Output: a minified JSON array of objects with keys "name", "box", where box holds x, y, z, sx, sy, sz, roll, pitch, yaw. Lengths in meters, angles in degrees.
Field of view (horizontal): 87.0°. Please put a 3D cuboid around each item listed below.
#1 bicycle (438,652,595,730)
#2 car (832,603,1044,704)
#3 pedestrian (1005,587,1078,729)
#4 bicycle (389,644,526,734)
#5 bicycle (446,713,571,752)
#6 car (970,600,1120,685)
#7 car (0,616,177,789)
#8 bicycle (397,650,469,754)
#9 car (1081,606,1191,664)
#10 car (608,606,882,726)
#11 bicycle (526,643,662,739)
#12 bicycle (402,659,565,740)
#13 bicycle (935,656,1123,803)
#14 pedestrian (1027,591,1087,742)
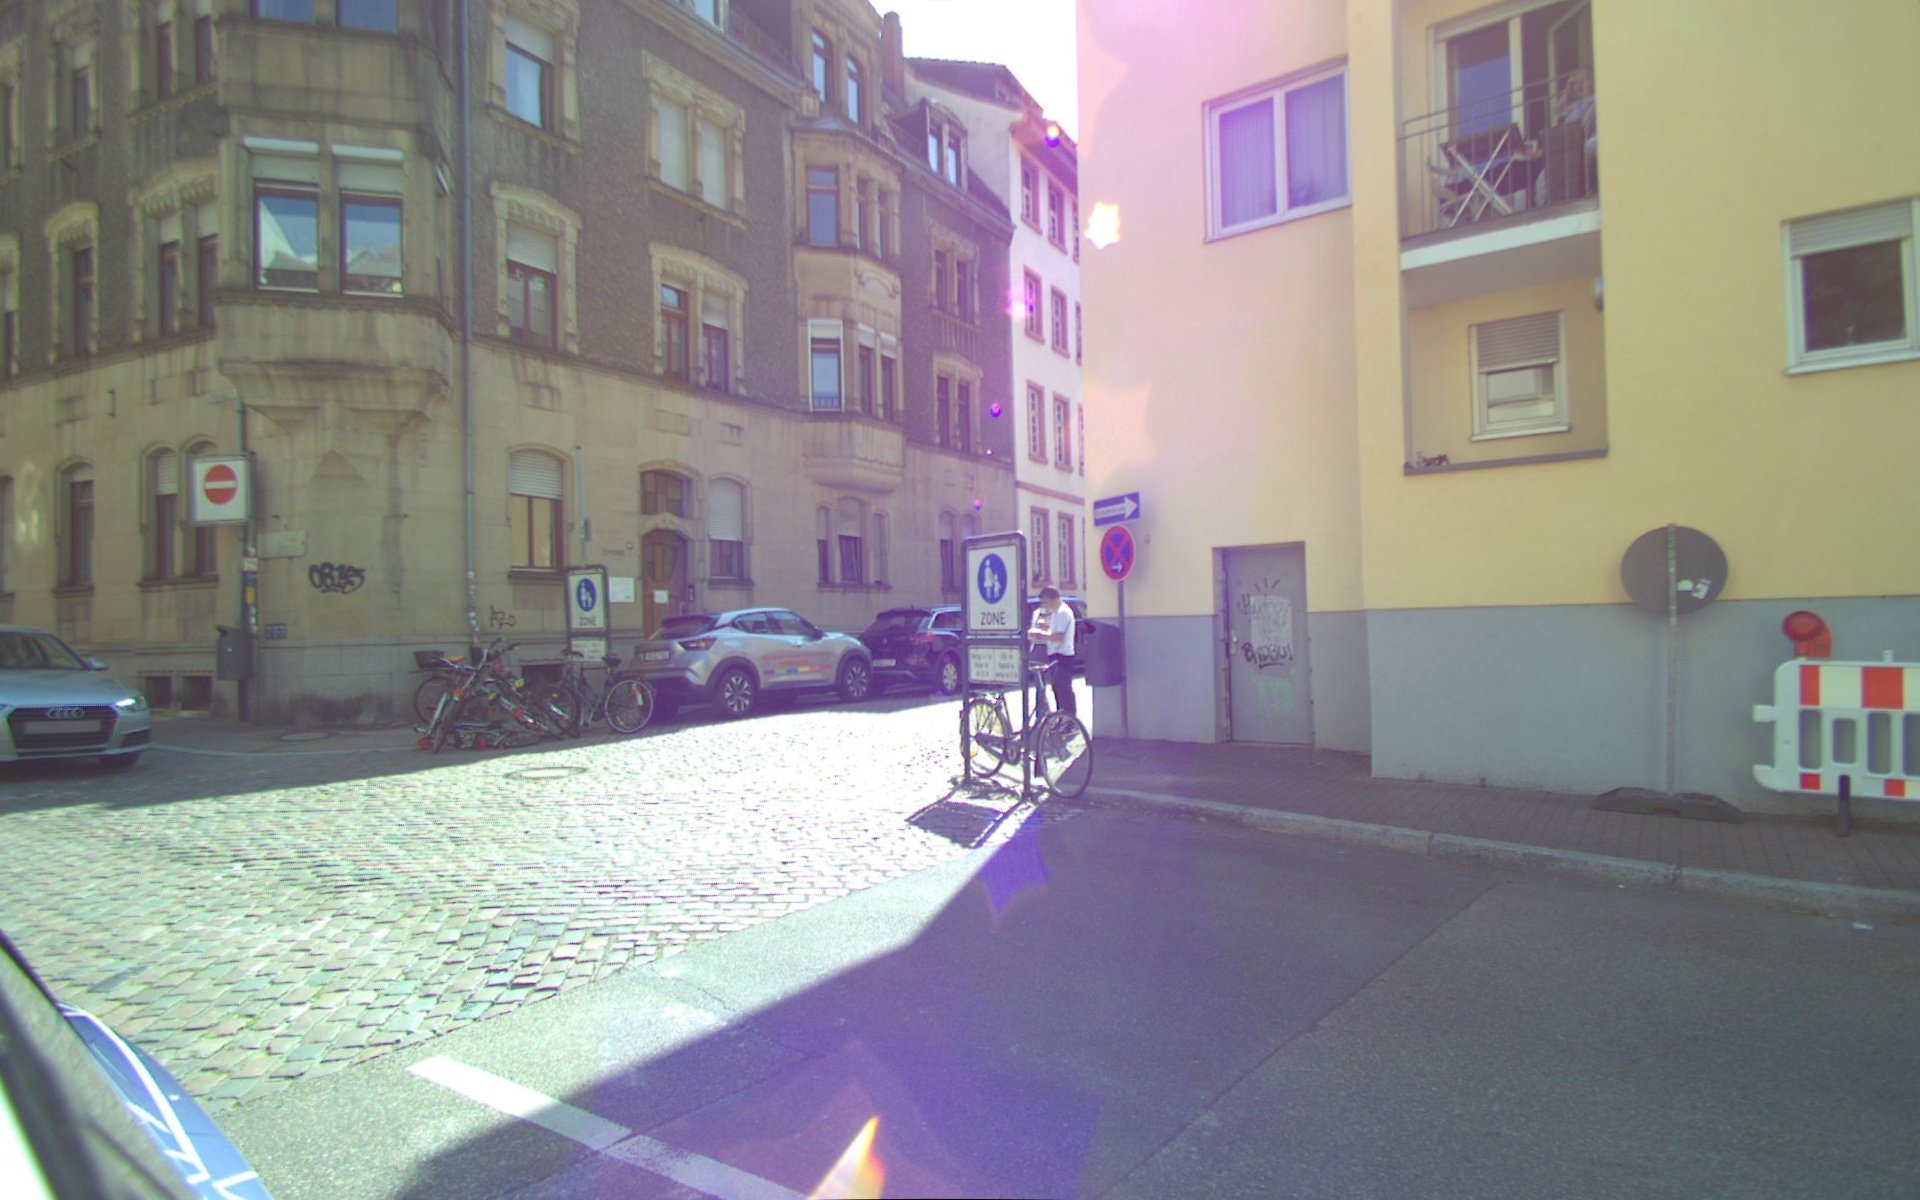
[{"name":"bicycle","box":[-5.506,1.127,12.594,1.632,1.081,0.287,-1,42,24]},{"name":"car","box":[-0.292,0.918,18.525,1.848,1.556,3.953,-5,-2,34]},{"name":"pedestrian","box":[0.984,0.682,12.130,0.685,1.630,0.752,-2,-2,18]},{"name":"bicycle","box":[-6.859,1.187,13.891,0.495,1.094,1.623,3,1,33]},{"name":"bicycle","box":[-5.342,1.552,11.963,1.062,0.290,1.125,0,-2,-42]},{"name":"car","box":[1.954,0.860,22.343,1.565,1.648,3.814,-1,0,36]},{"name":"car","box":[-10.085,0.919,10.239,4.363,1.503,1.859,-1,-1,29]},{"name":"bicycle","box":[-6.074,1.135,11.621,0.281,1.094,1.644,-4,1,-42]},{"name":"car","box":[5.060,0.943,28.716,1.658,1.454,3.816,-1,0,34]},{"name":"car","box":[-3.102,0.904,15.282,1.847,1.556,3.884,-2,-2,33]},{"name":"bicycle","box":[-4.597,1.143,12.712,1.622,1.094,0.285,-4,-4,7]},{"name":"bicycle","box":[-5.708,1.191,12.143,1.632,1.081,0.287,-1,42,24]},{"name":"bicycle","box":[0.531,1.039,8.630,0.385,1.087,1.913,0,-2,-39]},{"name":"pedestrian","box":[1.088,0.719,11.292,0.489,1.630,0.653,-1,-1,20]}]
